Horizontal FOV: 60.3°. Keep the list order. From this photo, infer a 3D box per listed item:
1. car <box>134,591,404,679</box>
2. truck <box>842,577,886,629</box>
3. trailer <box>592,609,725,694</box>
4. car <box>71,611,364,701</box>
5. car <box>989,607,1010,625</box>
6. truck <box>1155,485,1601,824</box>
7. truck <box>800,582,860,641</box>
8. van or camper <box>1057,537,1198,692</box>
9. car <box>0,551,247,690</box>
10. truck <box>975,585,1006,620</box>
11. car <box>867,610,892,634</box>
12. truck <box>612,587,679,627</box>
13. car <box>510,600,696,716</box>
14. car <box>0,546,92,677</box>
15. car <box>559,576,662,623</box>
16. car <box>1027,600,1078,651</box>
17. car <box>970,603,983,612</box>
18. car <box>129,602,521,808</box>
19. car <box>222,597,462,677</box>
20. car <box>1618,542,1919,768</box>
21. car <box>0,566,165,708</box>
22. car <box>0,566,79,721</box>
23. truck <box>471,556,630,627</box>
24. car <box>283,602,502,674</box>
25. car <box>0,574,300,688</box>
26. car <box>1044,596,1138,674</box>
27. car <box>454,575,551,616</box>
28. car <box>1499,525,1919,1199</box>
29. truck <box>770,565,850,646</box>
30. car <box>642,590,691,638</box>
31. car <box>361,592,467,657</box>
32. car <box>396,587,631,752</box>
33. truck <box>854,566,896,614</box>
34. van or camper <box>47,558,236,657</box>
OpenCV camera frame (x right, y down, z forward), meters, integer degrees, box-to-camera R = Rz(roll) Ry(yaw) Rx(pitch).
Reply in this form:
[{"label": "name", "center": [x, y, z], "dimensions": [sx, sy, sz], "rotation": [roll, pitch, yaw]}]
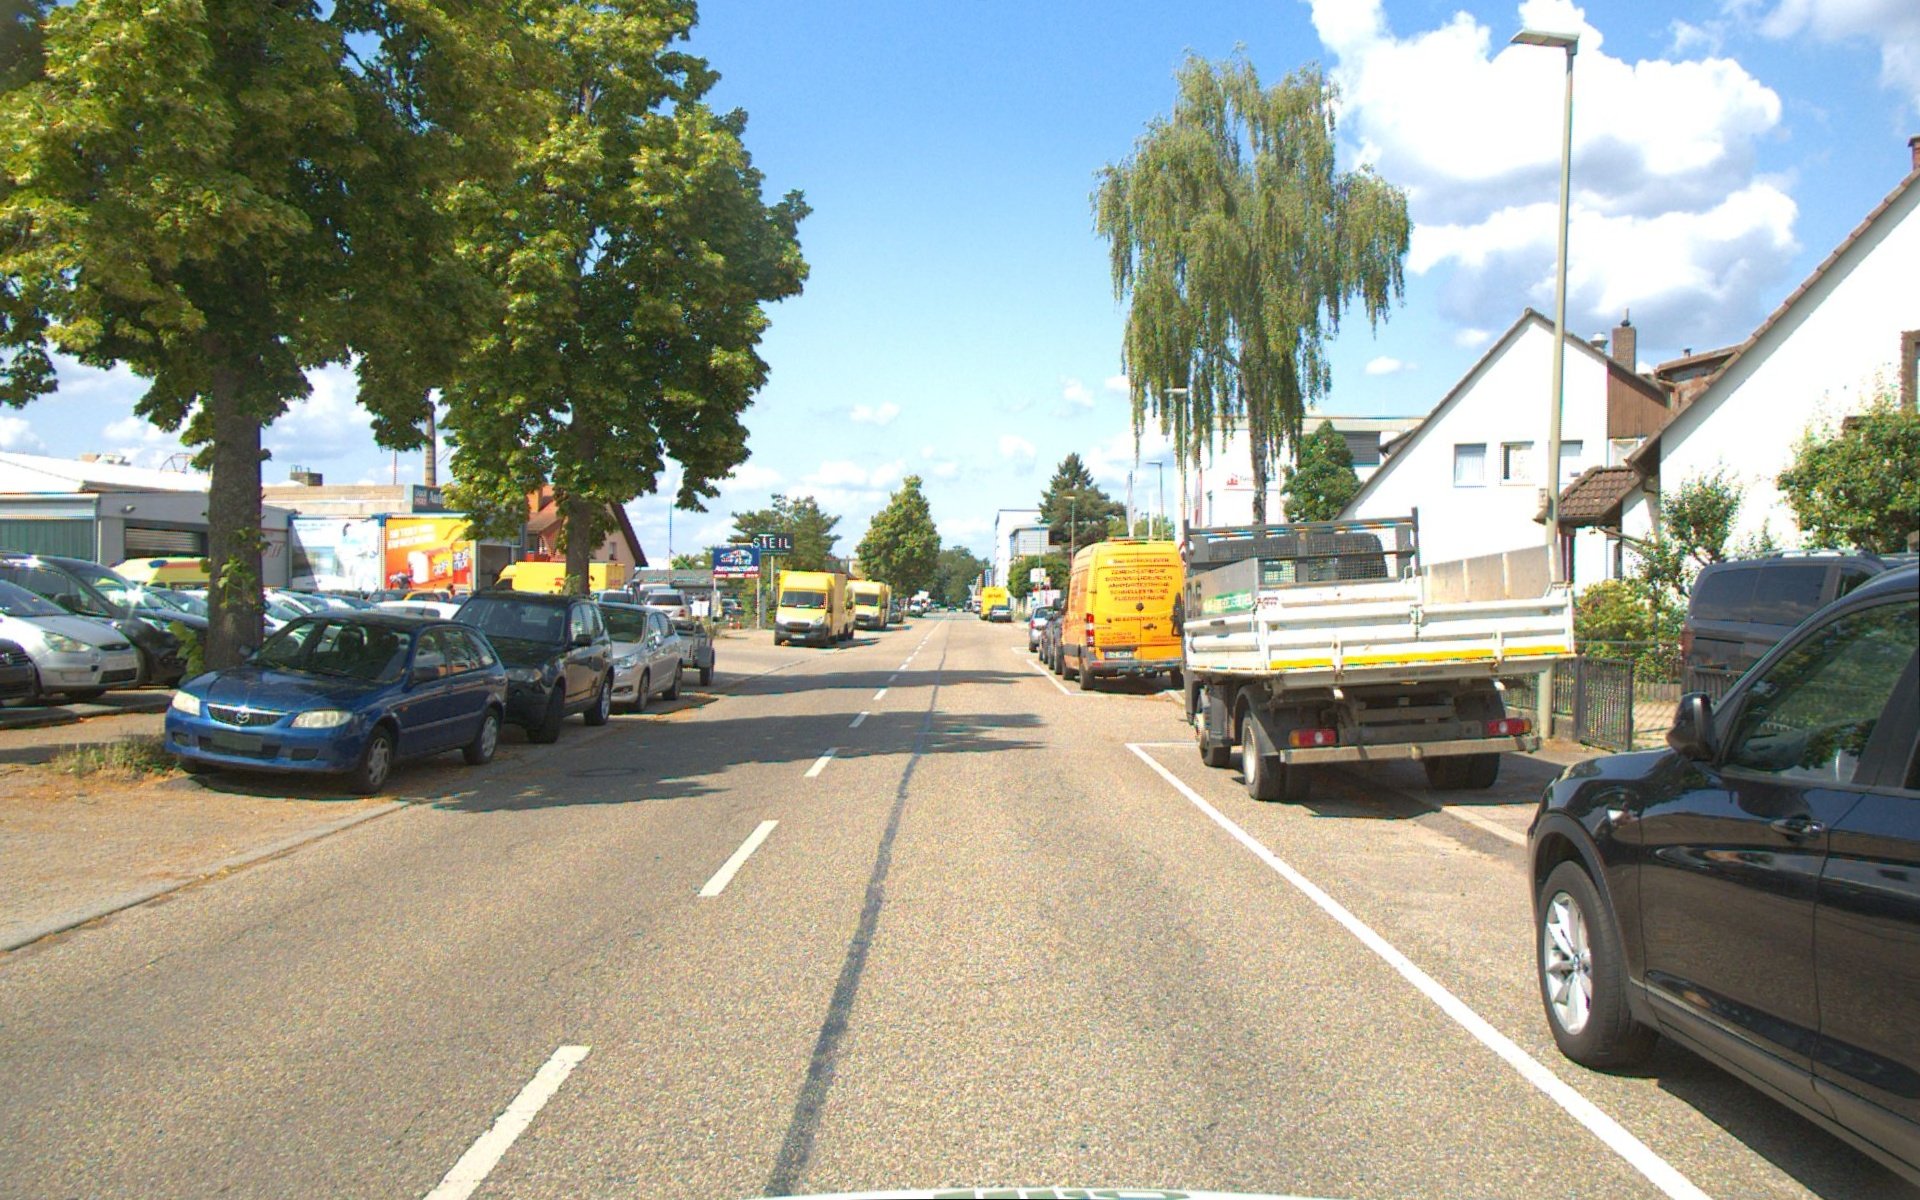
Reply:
[{"label": "car", "center": [-12.335, 0.625, 29.690], "dimensions": [4.058, 1.516, 1.827], "rotation": [0, -1, 2]}, {"label": "truck", "center": [-5.637, 0.194, 97.764], "dimensions": [2.223, 2.905, 7.172], "rotation": [1, -1, -1]}, {"label": "trailer", "center": [-5.483, 0.902, 30.603], "dimensions": [1.726, 1.312, 4.506], "rotation": [3, 0, -2]}, {"label": "car", "center": [-12.356, 0.920, 27.692], "dimensions": [4.058, 1.456, 1.827], "rotation": [0, -1, 2]}, {"label": "car", "center": [3.236, 1.323, 136.368], "dimensions": [1.618, 1.411, 4.423], "rotation": [1, 0, 0]}, {"label": "truck", "center": [3.380, 0.395, 14.947], "dimensions": [2.470, 2.339, 5.895], "rotation": [-3, 0, 0]}, {"label": "truck", "center": [-5.565, 0.474, 71.429], "dimensions": [1.952, 2.456, 6.065], "rotation": [0, 0, 1]}, {"label": "van or camper", "center": [3.109, 0.250, 31.870], "dimensions": [1.953, 2.710, 5.767], "rotation": [0, 0, -2]}, {"label": "car", "center": [-12.203, 0.290, 22.676], "dimensions": [4.058, 1.819, 1.827], "rotation": [0, -1, 2]}, {"label": "truck", "center": [2.727, 0.205, 147.913], "dimensions": [2.424, 2.991, 7.186], "rotation": [1, 0, -1]}, {"label": "car", "center": [-6.078, 1.654, 125.526], "dimensions": [1.690, 1.632, 4.412], "rotation": [3, 0, -2]}, {"label": "truck", "center": [-20.259, 0.427, 106.827], "dimensions": [2.065, 2.531, 5.725], "rotation": [0, 0, 13]}, {"label": "car", "center": [-5.402, 0.824, 25.571], "dimensions": [1.795, 1.555, 4.238], "rotation": [2, 0, 2]}, {"label": "car", "center": [-16.001, 0.181, 27.023], "dimensions": [1.676, 2.049, 3.998], "rotation": [0, 0, -3]}, {"label": "car", "center": [-15.023, -0.012, 71.219], "dimensions": [3.845, 1.841, 1.857], "rotation": [2, 0, 10]}, {"label": "car", "center": [3.080, 0.822, 55.580], "dimensions": [1.577, 1.608, 4.001], "rotation": [1, 0, 1]}, {"label": "car", "center": [2.424, 1.059, 240.497], "dimensions": [1.889, 1.333, 4.000], "rotation": [0, 0, 0]}, {"label": "car", "center": [-5.501, 0.818, 14.956], "dimensions": [1.663, 1.509, 4.161], "rotation": [2, 0, 4]}, {"label": "car", "center": [-11.963, 0.714, 32.178], "dimensions": [3.942, 1.516, 1.827], "rotation": [0, -1, 2]}, {"label": "car", "center": [8.634, 0.457, 16.503], "dimensions": [1.820, 1.898, 5.016], "rotation": [0, 0, -5]}, {"label": "car", "center": [-12.198, 0.422, 20.056], "dimensions": [4.207, 1.643, 1.827], "rotation": [0, 1, -1]}, {"label": "car", "center": [-12.183, 0.457, 17.788], "dimensions": [4.431, 1.610, 1.828], "rotation": [0, 1, 2]}, {"label": "truck", "center": [-18.595, -0.385, 75.172], "dimensions": [6.457, 2.899, 2.531], "rotation": [2, 0, 13]}, {"label": "car", "center": [-11.915, 0.780, 34.873], "dimensions": [3.941, 1.398, 1.828], "rotation": [1, 0, 5]}, {"label": "car", "center": [-12.409, 0.467, 25.087], "dimensions": [4.058, 1.647, 1.827], "rotation": [0, -1, 2]}, {"label": "car", "center": [2.945, 0.752, 37.811], "dimensions": [1.795, 1.668, 4.239], "rotation": [0, 0, 0]}, {"label": "car", "center": [-20.164, -0.189, 72.925], "dimensions": [3.760, 1.761, 1.734], "rotation": [0, 0, 11]}, {"label": "car", "center": [2.990, 0.689, 4.182], "dimensions": [1.792, 1.691, 4.554], "rotation": [0, 0, 0]}, {"label": "truck", "center": [-5.723, 0.188, 64.094], "dimensions": [2.174, 2.907, 7.070], "rotation": [2, 0, 1]}, {"label": "car", "center": [-11.615, 0.526, 65.691], "dimensions": [1.795, 1.735, 4.699], "rotation": [0, 2, -9]}, {"label": "car", "center": [-14.738, 0.634, 44.791], "dimensions": [1.412, 1.685, 3.303], "rotation": [0, 0, 8]}, {"label": "car", "center": [-5.321, 0.753, 20.297], "dimensions": [1.658, 1.729, 4.399], "rotation": [2, 0, -1]}, {"label": "truck", "center": [-5.509, -0.617, 107.570], "dimensions": [2.269, 2.912, 7.103], "rotation": [3, 0, 0]}, {"label": "van or camper", "center": [-22.136, 0.133, 45.011], "dimensions": [1.951, 2.518, 5.366], "rotation": [0, 1, 7]}]
